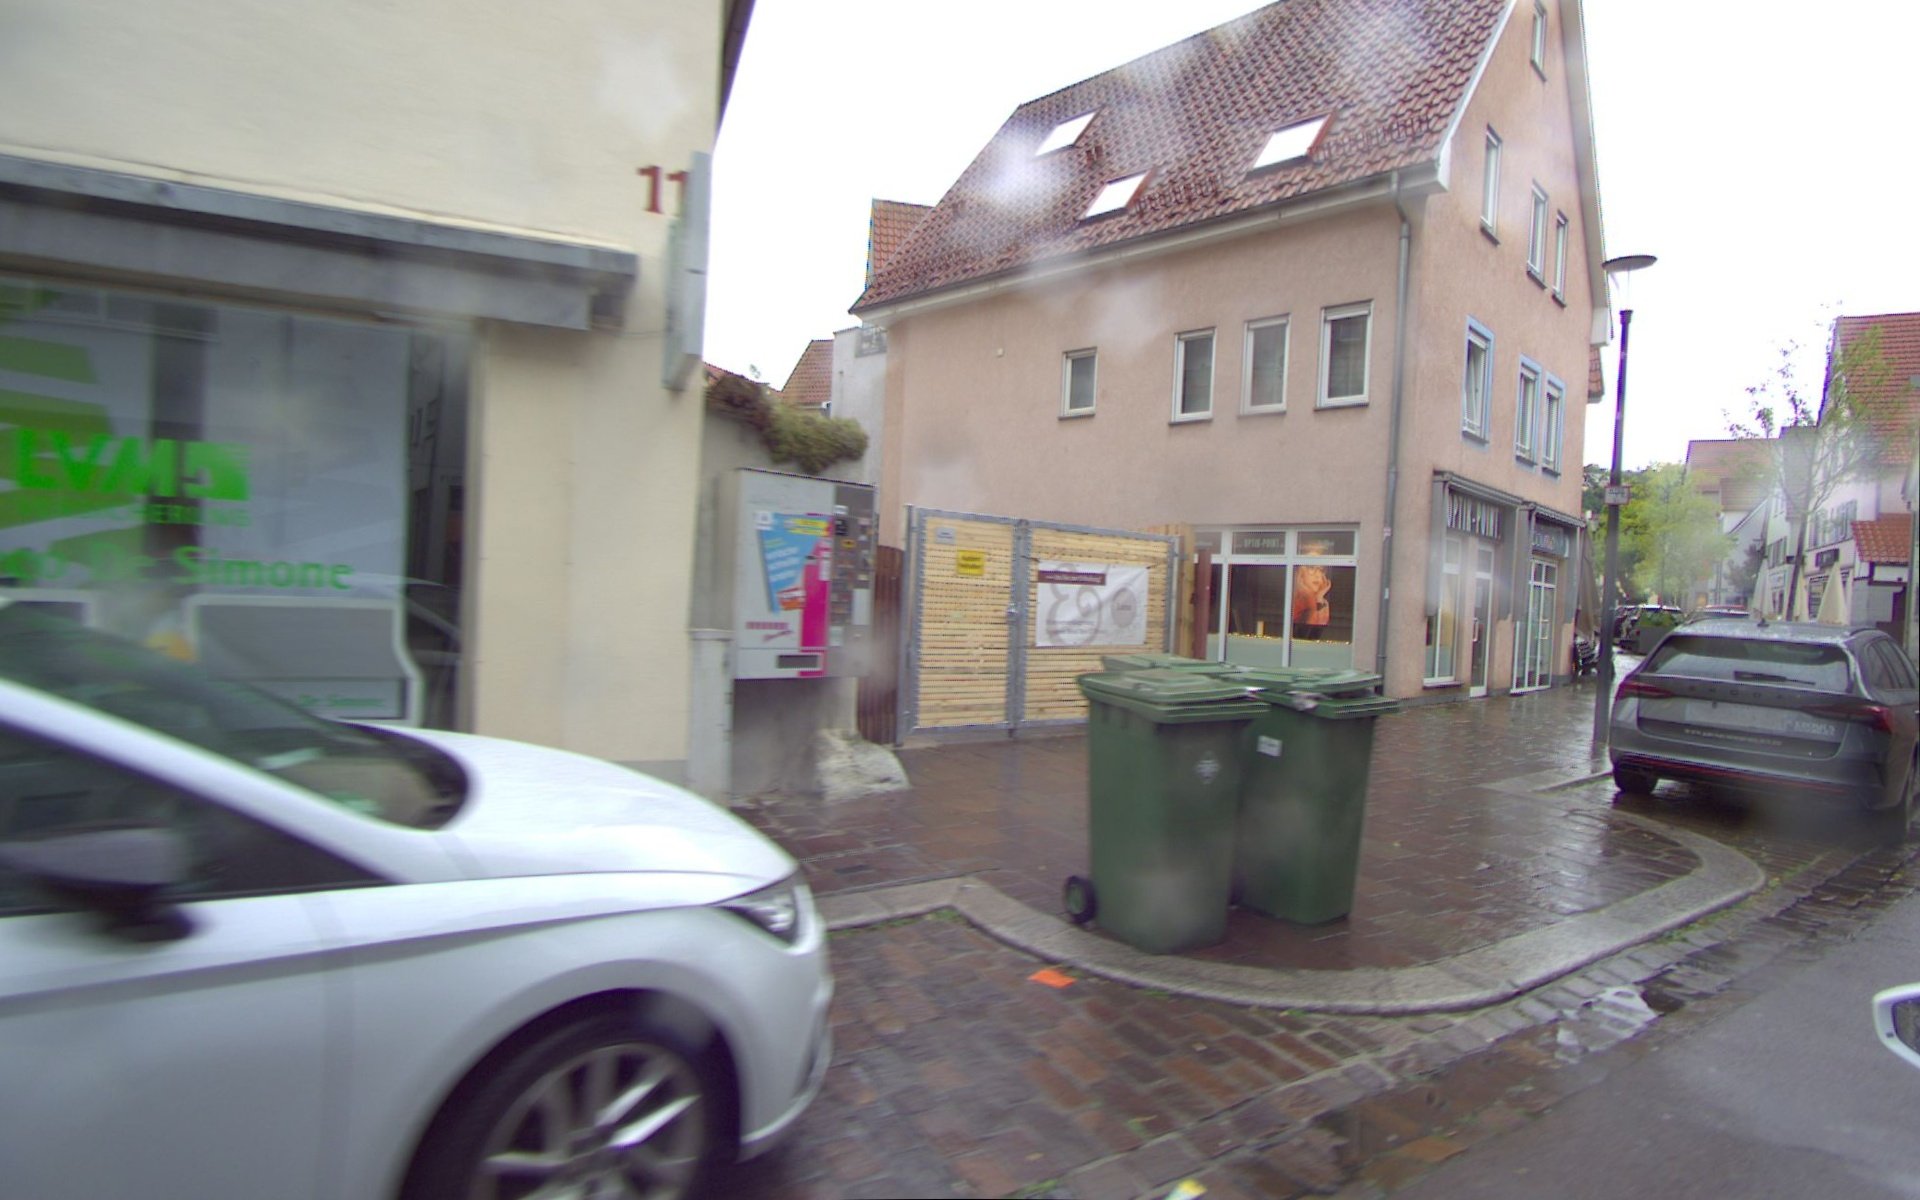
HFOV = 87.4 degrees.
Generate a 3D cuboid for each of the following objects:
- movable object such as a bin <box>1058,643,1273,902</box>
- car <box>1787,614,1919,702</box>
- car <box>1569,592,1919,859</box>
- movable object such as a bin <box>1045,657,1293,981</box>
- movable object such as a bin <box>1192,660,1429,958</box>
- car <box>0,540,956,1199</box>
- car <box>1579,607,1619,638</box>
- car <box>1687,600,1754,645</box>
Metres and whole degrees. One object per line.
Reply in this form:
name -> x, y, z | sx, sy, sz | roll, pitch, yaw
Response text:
movable object such as a bin -> 1.036, 0.837, 5.144 | 0.710, 1.137, 0.696 | 4, 2, -30
car -> 17.859, 1.072, 20.153 | 1.839, 1.461, 4.599 | 3, 2, 39
car -> 6.804, 0.811, 8.289 | 4.368, 1.561, 1.858 | 2, 1, -43
movable object such as a bin -> 0.857, 0.841, 4.197 | 0.710, 1.151, 0.679 | 2, 1, -29
movable object such as a bin -> 1.583, 0.883, 4.585 | 0.710, 1.159, 0.696 | 1, 1, -30
car -> -2.170, 0.616, 1.946 | 4.035, 1.471, 1.835 | 0, 2, -37
car -> 36.328, 1.263, 57.179 | 1.667, 1.559, 4.112 | 4, 2, 30
car -> 34.965, 0.987, 46.269 | 1.866, 1.836, 3.992 | 5, 3, 30
